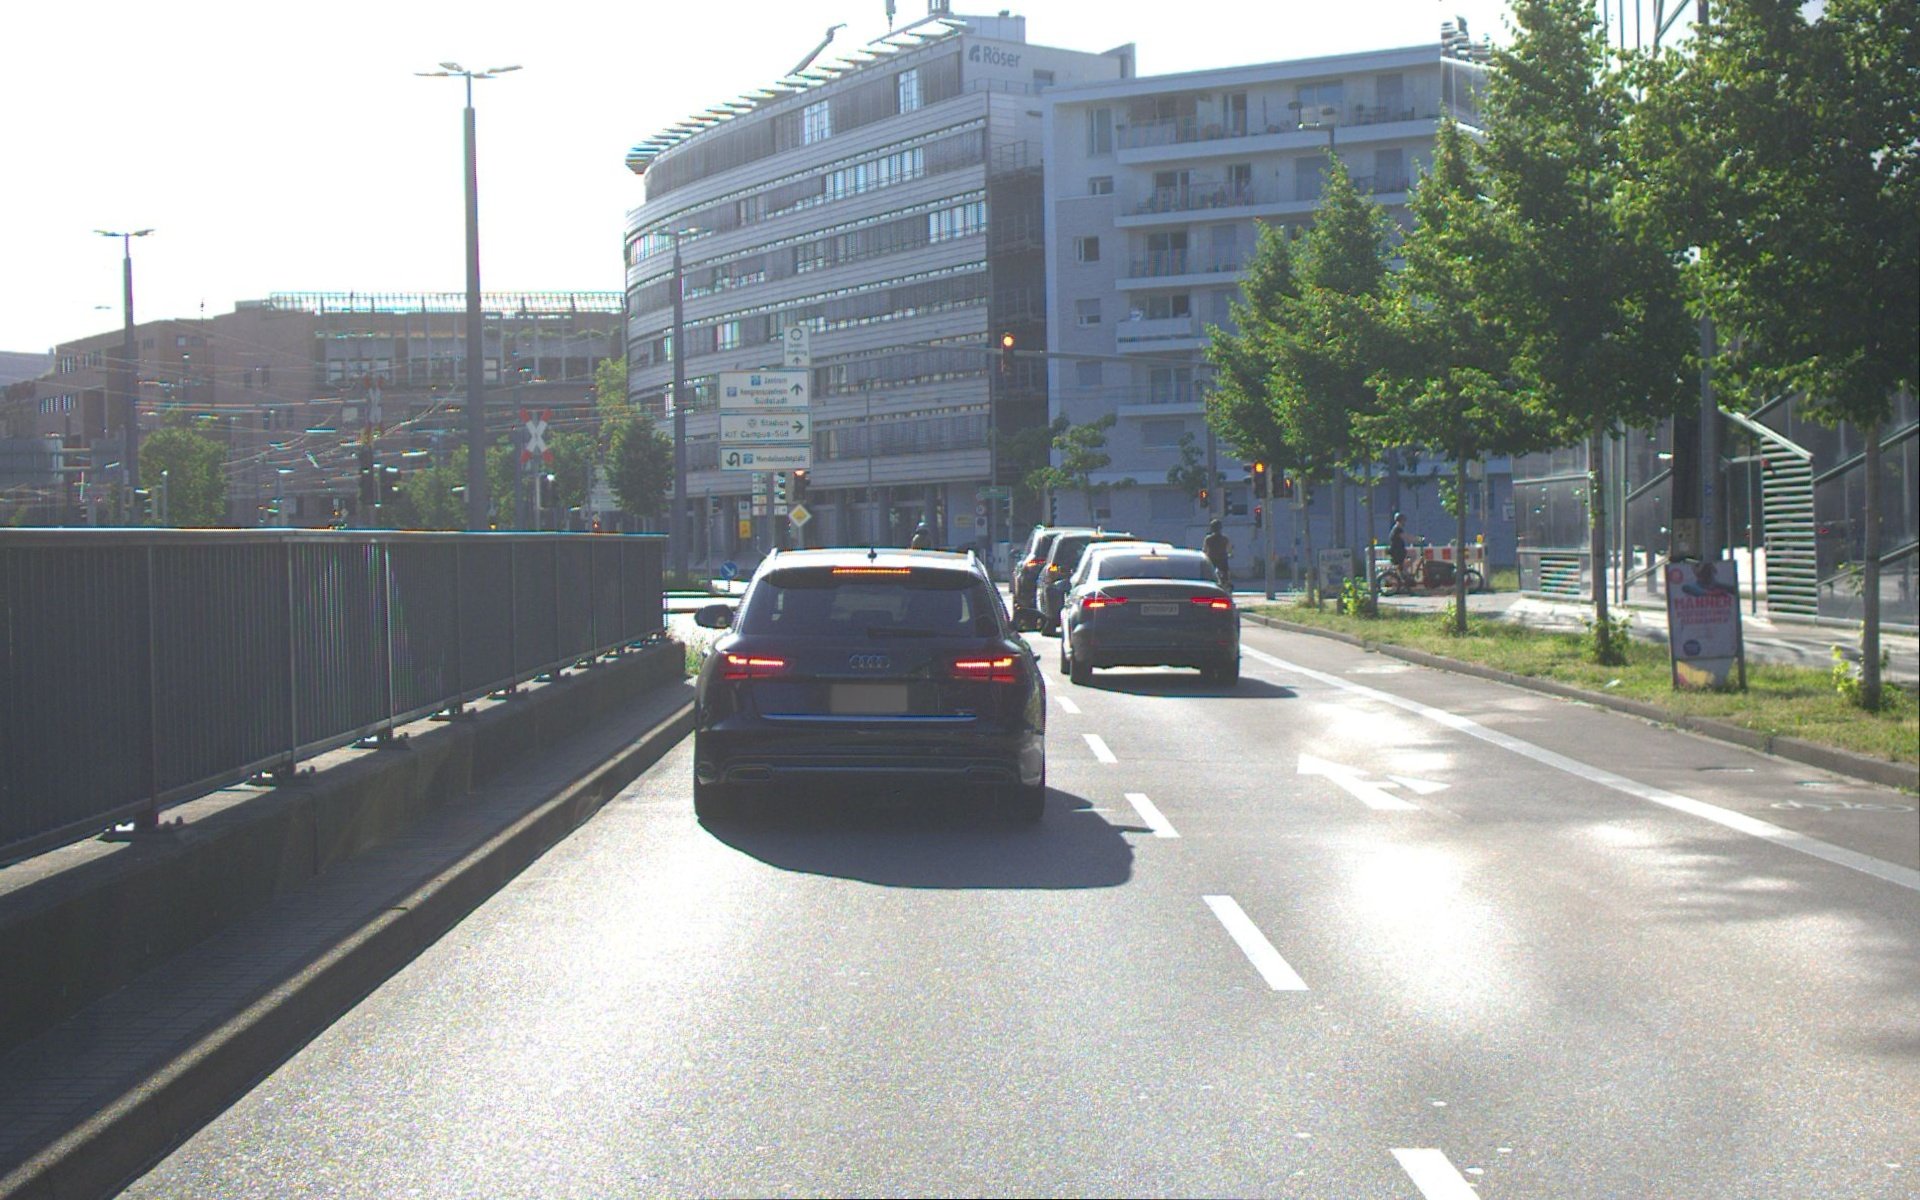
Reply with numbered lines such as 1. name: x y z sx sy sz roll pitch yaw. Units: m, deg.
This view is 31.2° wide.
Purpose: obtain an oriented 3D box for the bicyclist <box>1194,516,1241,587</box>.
1. bicyclist: 5.203 -0.984 69.525 0.724 1.413 0.892 -2 1 -7

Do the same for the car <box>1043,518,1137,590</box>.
1. car: 2.824 -1.032 75.634 1.993 1.460 4.000 0 2 1

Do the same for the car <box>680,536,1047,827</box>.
1. car: -0.522 0.367 19.498 1.812 1.422 4.690 -1 1 -1

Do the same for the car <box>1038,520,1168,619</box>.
1. car: 2.244 -0.523 55.010 1.993 1.460 4.000 0 2 1

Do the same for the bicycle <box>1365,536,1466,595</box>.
1. bicycle: 9.846 -0.749 74.357 2.087 1.180 0.726 -2 1 4

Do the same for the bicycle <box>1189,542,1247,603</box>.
1. bicycle: 5.202 -0.570 69.534 0.724 1.180 2.094 -2 1 -7

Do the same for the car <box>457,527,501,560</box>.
1. car: -27.003 -3.196 193.055 1.993 1.744 4.001 -2 1 -3

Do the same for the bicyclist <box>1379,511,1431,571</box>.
1. bicyclist: 9.614 -1.280 74.351 1.032 1.264 0.726 -2 1 4

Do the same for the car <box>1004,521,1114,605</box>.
1. car: 1.833 -0.713 64.311 1.993 1.460 4.000 0 2 1

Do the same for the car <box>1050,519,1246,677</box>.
1. car: 1.926 -0.067 36.256 1.852 1.541 4.000 1 2 0
